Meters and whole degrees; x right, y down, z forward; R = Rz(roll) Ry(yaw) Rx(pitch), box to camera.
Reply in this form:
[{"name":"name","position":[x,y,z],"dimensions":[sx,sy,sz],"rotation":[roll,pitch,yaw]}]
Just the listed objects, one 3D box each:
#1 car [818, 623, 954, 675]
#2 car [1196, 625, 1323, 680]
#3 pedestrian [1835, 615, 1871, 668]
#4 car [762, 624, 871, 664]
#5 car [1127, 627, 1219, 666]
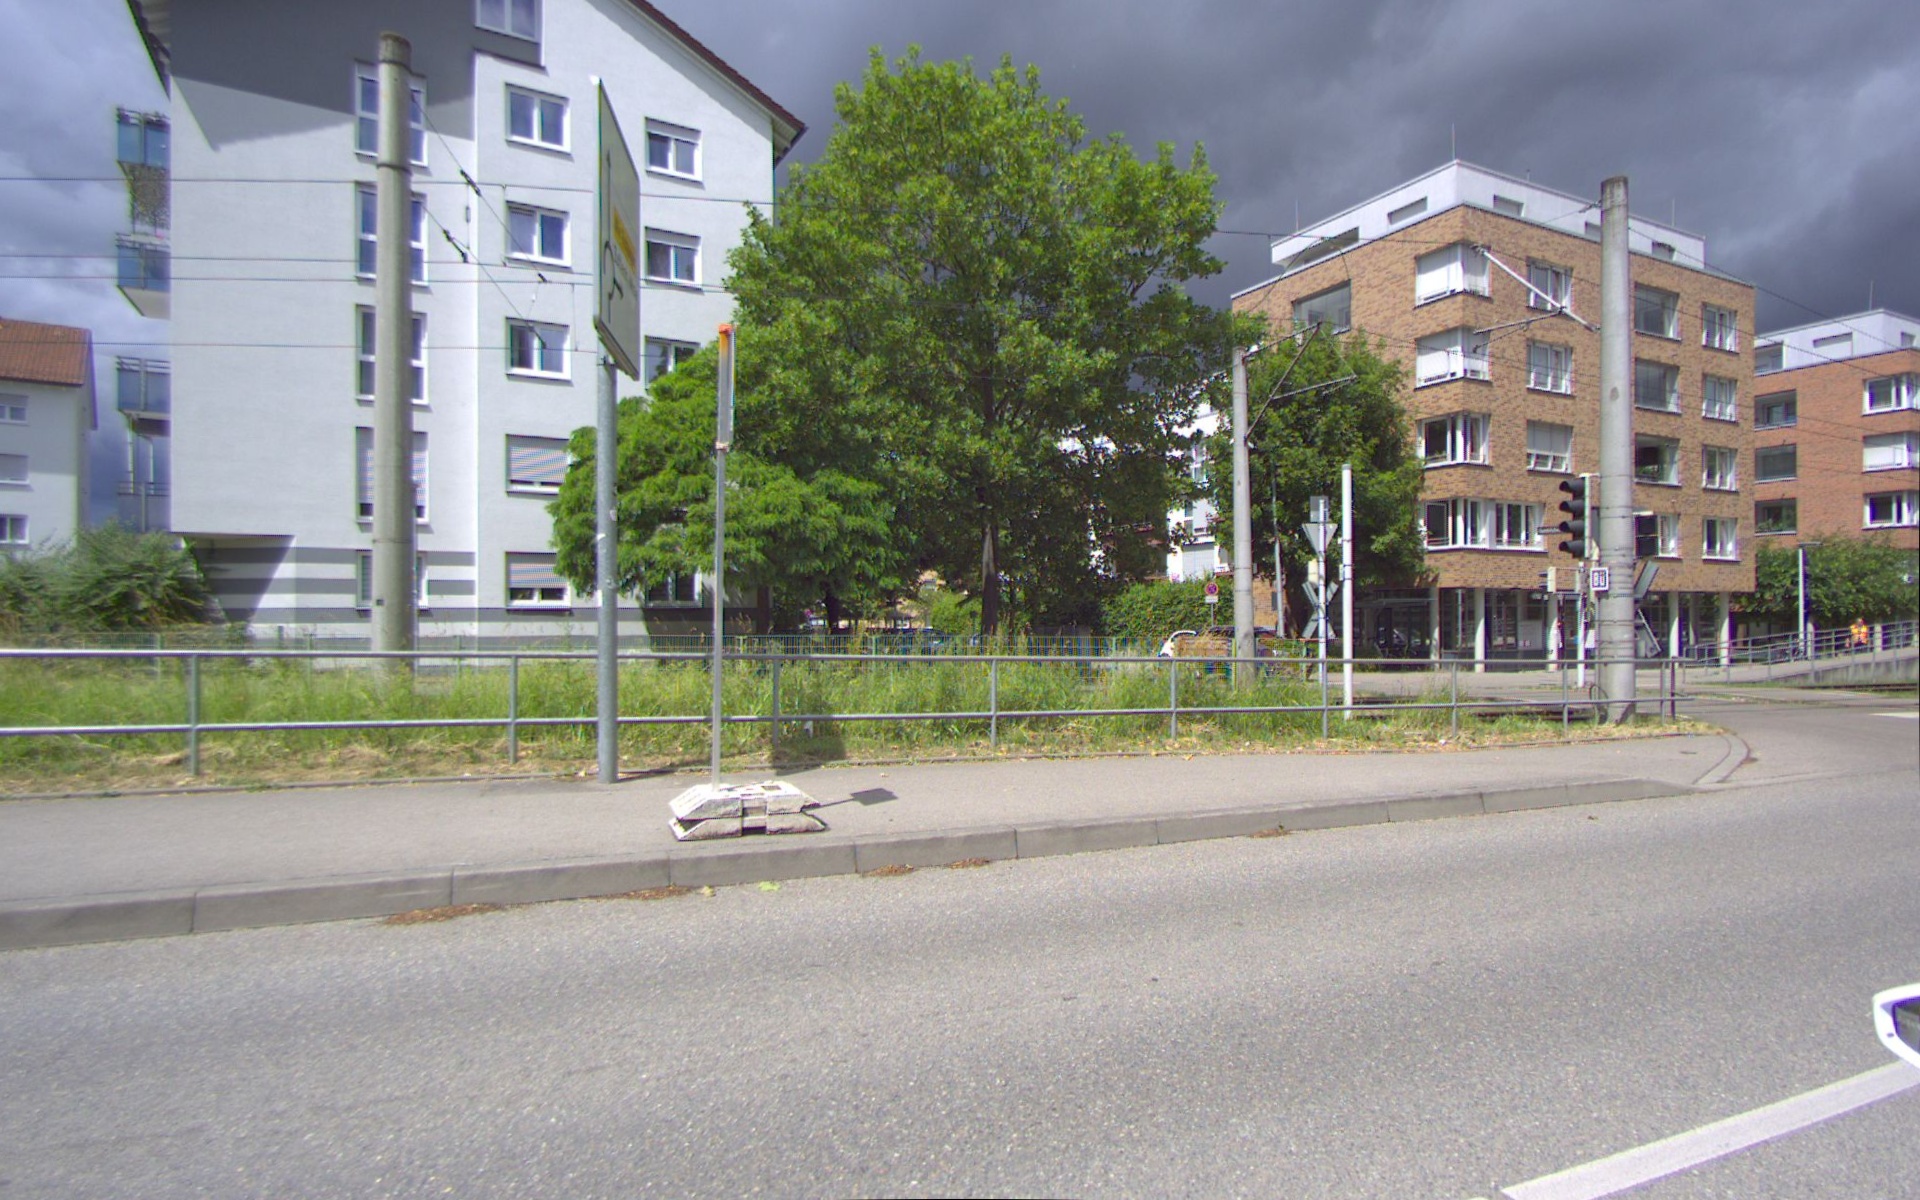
[{"name":"car","position":[-2.381,1.595,32.768],"dimensions":[4.071,1.576,1.843],"rotation":[2,-2,-35]},{"name":"car","position":[8.769,1.554,29.657],"dimensions":[1.566,1.495,3.663],"rotation":[1,-3,-25]},{"name":"pedestrian","position":[31.842,1.476,35.811],"dimensions":[0.818,1.849,0.740],"rotation":[1,-1,-28]},{"name":"car","position":[-5.903,1.833,41.491],"dimensions":[4.071,1.576,1.843],"rotation":[2,-2,-35]},{"name":"car","position":[8.207,1.770,38.897],"dimensions":[1.575,1.418,3.516],"rotation":[1,-2,-29]}]
